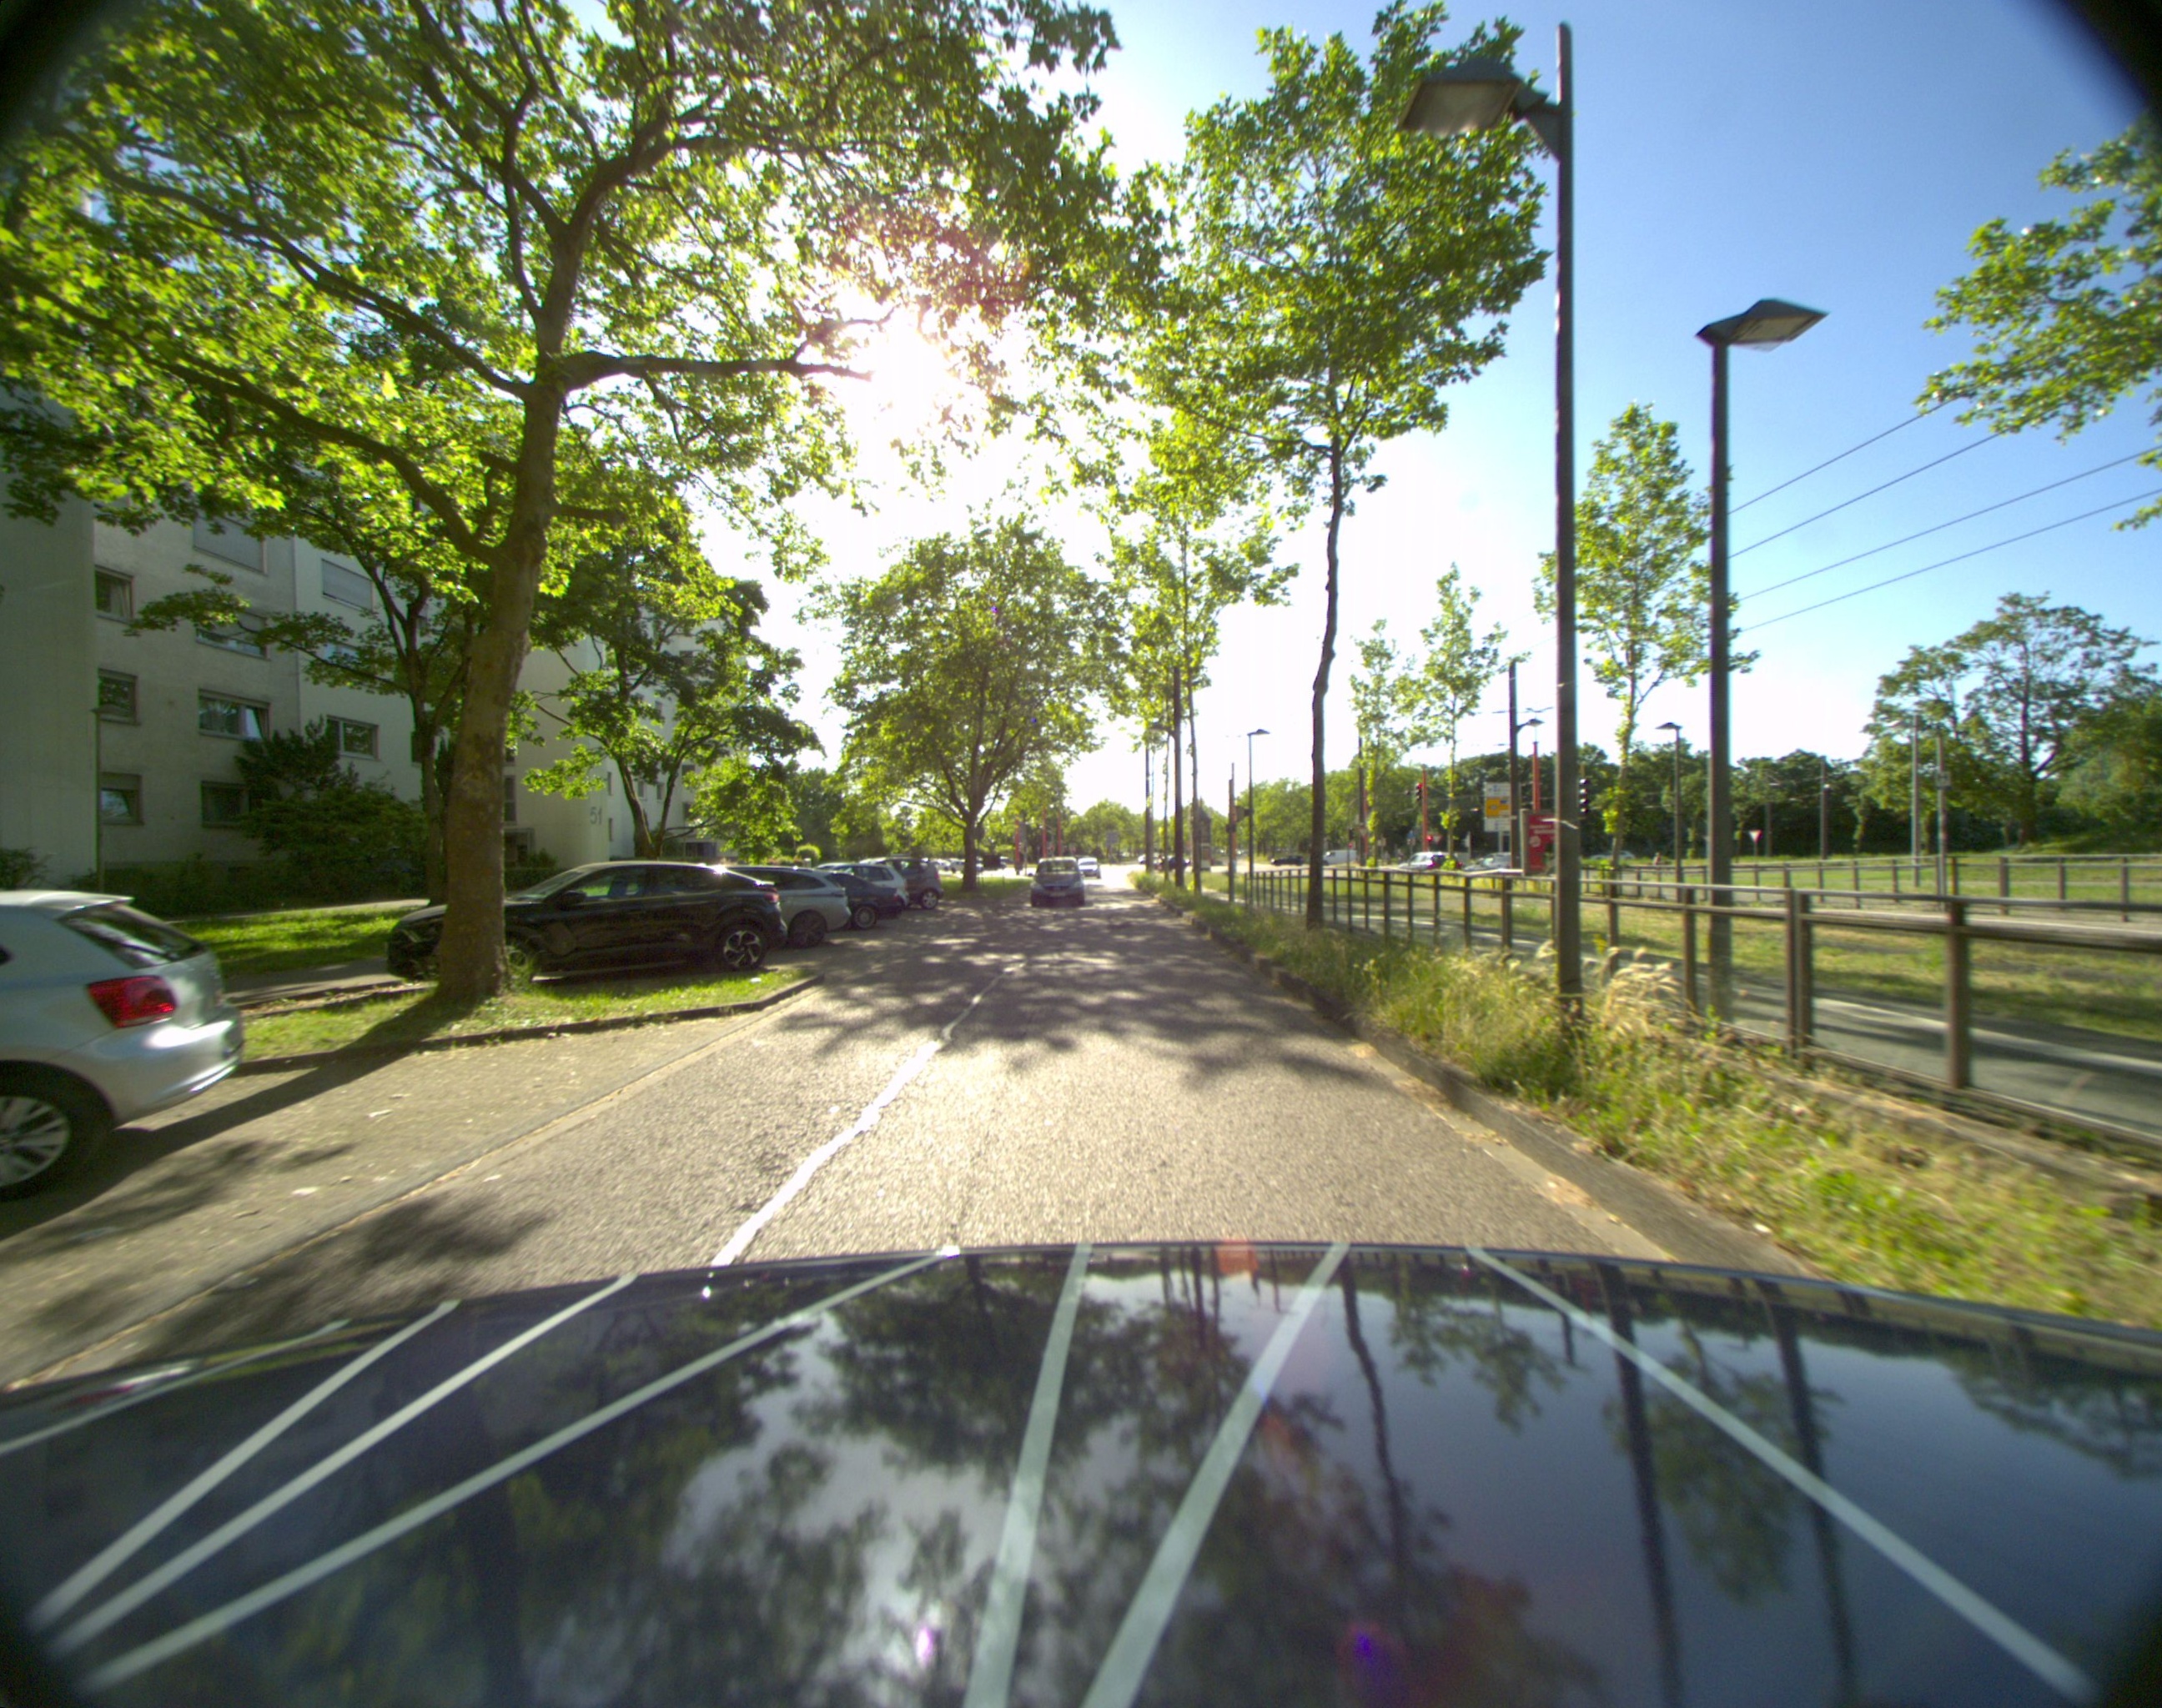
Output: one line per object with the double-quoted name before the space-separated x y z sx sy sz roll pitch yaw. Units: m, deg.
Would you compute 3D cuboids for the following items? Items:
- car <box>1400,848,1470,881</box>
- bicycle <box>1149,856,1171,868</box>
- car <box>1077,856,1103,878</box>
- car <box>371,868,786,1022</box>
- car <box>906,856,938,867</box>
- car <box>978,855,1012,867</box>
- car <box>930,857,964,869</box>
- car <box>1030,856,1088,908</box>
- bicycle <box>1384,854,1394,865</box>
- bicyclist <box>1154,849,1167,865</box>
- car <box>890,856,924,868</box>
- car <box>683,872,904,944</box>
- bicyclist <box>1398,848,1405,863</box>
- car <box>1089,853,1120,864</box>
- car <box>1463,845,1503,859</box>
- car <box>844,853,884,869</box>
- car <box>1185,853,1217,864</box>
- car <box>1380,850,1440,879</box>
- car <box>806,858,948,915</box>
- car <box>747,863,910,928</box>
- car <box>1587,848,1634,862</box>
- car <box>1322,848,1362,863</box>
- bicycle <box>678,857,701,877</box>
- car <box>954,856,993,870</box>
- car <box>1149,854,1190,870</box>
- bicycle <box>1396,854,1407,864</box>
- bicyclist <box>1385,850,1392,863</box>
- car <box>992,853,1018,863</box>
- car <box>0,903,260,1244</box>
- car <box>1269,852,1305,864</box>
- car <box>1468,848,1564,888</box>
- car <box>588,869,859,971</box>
"car" 18.444 0.536 39.819 1.798 1.607 4.233 -1 0 1
"bicycle" 7.450 0.772 71.286 1.896 1.101 0.704 -1 1 24
"car" 0.740 0.986 58.922 1.798 1.530 4.001 -1 0 3
"car" -6.247 0.961 9.814 1.795 1.501 4.186 0 0 44
"car" -21.581 1.029 103.297 3.989 1.473 1.803 -1 2 29
"car" -10.955 0.889 97.204 3.989 1.473 1.803 -1 2 29
"car" -16.977 1.112 96.215 3.989 1.384 1.803 -1 2 29
"car" -0.687 0.904 26.181 1.798 1.580 3.763 -2 0 1
"bicycle" 34.023 0.601 84.008 0.499 1.101 1.800 -1 0 3
"bicyclist" 7.444 0.321 71.275 0.955 1.469 0.704 -1 1 24
"car" -22.815 1.085 99.608 3.989 1.497 1.803 -1 2 29
"car" -6.192 1.078 16.600 4.155 1.310 1.795 0 0 -39
"bicyclist" 35.376 0.117 83.909 0.562 1.642 0.715 -1 1 3
"car" 3.265 0.642 107.815 3.989 1.645 1.803 -1 0 27
"car" 45.221 -0.193 85.548 3.989 1.501 1.803 -1 0 27
"car" -29.570 0.949 103.427 5.180 2.075 2.096 -1 2 29
"car" 16.516 0.589 104.394 3.989 1.501 1.803 -1 0 27
"car" 19.429 0.589 45.044 1.798 1.607 4.234 -1 0 1
"car" -6.129 0.922 22.954 3.734 1.583 1.795 0 0 -40
"car" -6.469 0.994 19.643 3.591 1.483 1.795 0 0 -41
"car" 57.486 0.096 82.533 3.989 1.501 1.803 -1 0 27
"car" 32.851 0.254 95.667 4.545 1.825 1.803 -1 0 27
"bicycle" -22.596 0.750 43.902 0.500 1.101 1.799 4 0 -5
"car" -12.795 1.075 90.253 4.274 1.473 1.803 -1 2 29
"car" 9.321 0.843 79.720 1.785 1.501 4.636 -1 0 42
"bicycle" 35.383 0.576 83.917 0.562 1.101 1.800 -1 0 3
"bicyclist" 34.017 0.230 84.001 0.499 1.439 0.778 -1 1 3
"car" -11.814 0.665 118.203 3.776 1.497 1.616 -1 0 27
"car" -6.554 1.041 3.198 4.008 1.436 1.795 0 0 -40
"car" 25.894 0.475 95.542 3.989 1.501 1.803 -1 0 27
"car" 18.847 0.564 33.148 1.798 1.598 4.267 -1 0 1
"car" -6.088 1.016 13.187 3.896 1.437 1.795 0 0 -43
